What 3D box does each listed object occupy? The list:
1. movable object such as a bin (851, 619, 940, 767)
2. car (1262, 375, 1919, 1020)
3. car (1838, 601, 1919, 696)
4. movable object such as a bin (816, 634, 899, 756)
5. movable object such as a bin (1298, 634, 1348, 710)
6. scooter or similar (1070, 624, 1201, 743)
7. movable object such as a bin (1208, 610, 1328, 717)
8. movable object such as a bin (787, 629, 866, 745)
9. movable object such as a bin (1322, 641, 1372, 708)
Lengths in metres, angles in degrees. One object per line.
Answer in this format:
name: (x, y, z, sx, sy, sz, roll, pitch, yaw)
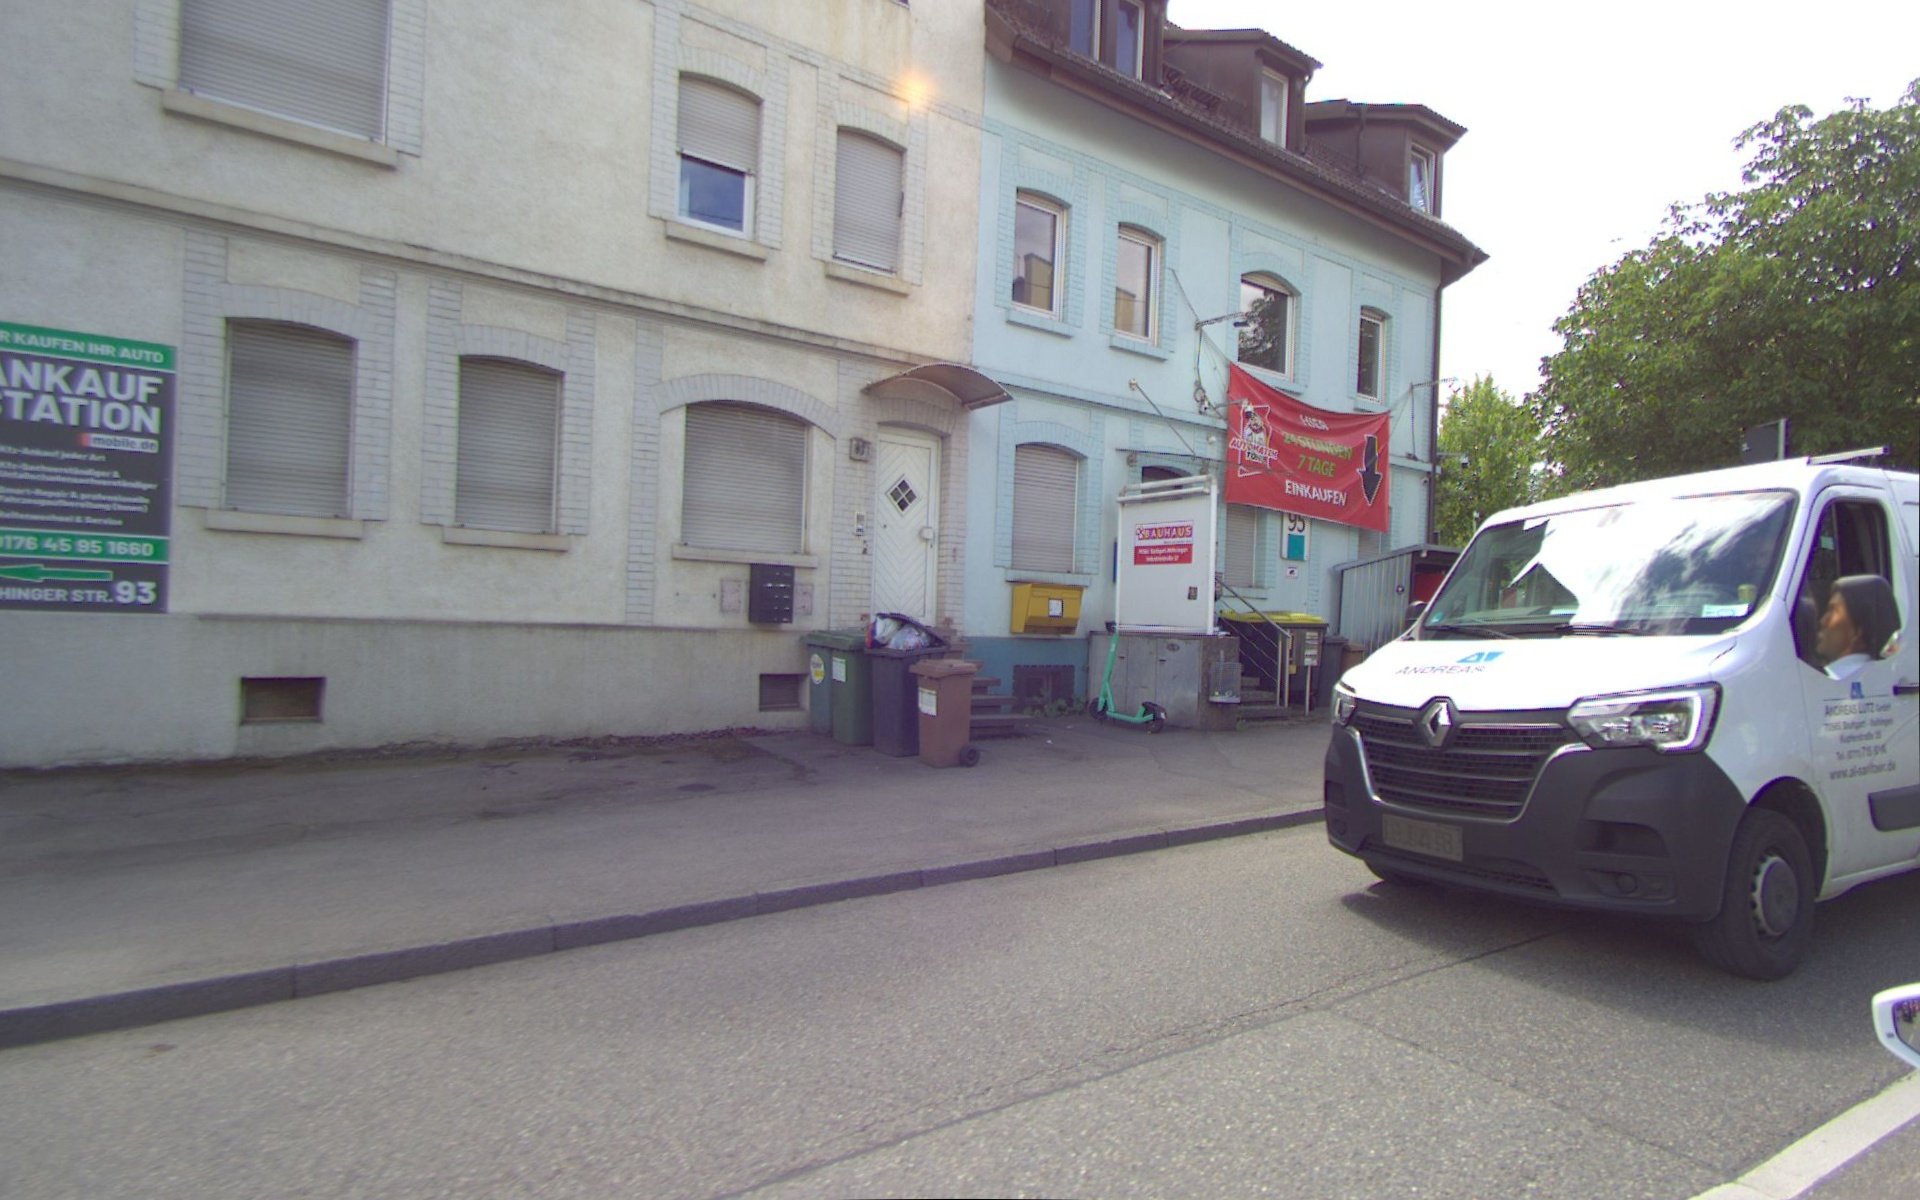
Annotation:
movable object such as a bin: (-0.602, 0.837, 9.340, 0.558, 1.290, 0.560, 1, 2, -38)
car: (4.427, 0.415, 5.804, 5.115, 2.384, 2.056, 1, -2, -27)
car: (21.702, 1.003, 20.653, 2.074, 2.020, 5.212, 1, -2, -16)
movable object such as a bin: (-1.008, 0.913, 9.872, 0.558, 1.116, 0.560, 2, 2, -38)
movable object such as a bin: (5.254, 1.035, 14.536, 0.513, 1.054, 0.430, 2, 1, -36)
scooter or similar: (1.986, 0.920, 11.553, 0.540, 1.200, 1.544, 2, 1, -33)
movable object such as a bin: (4.297, 0.858, 14.012, 1.235, 1.373, 1.013, 2, 1, -36)
movable object such as a bin: (-1.377, 0.884, 10.365, 0.558, 1.116, 0.560, 2, 2, -38)
movable object such as a bin: (5.722, 1.090, 14.863, 0.513, 0.945, 0.443, 2, 1, -36)
